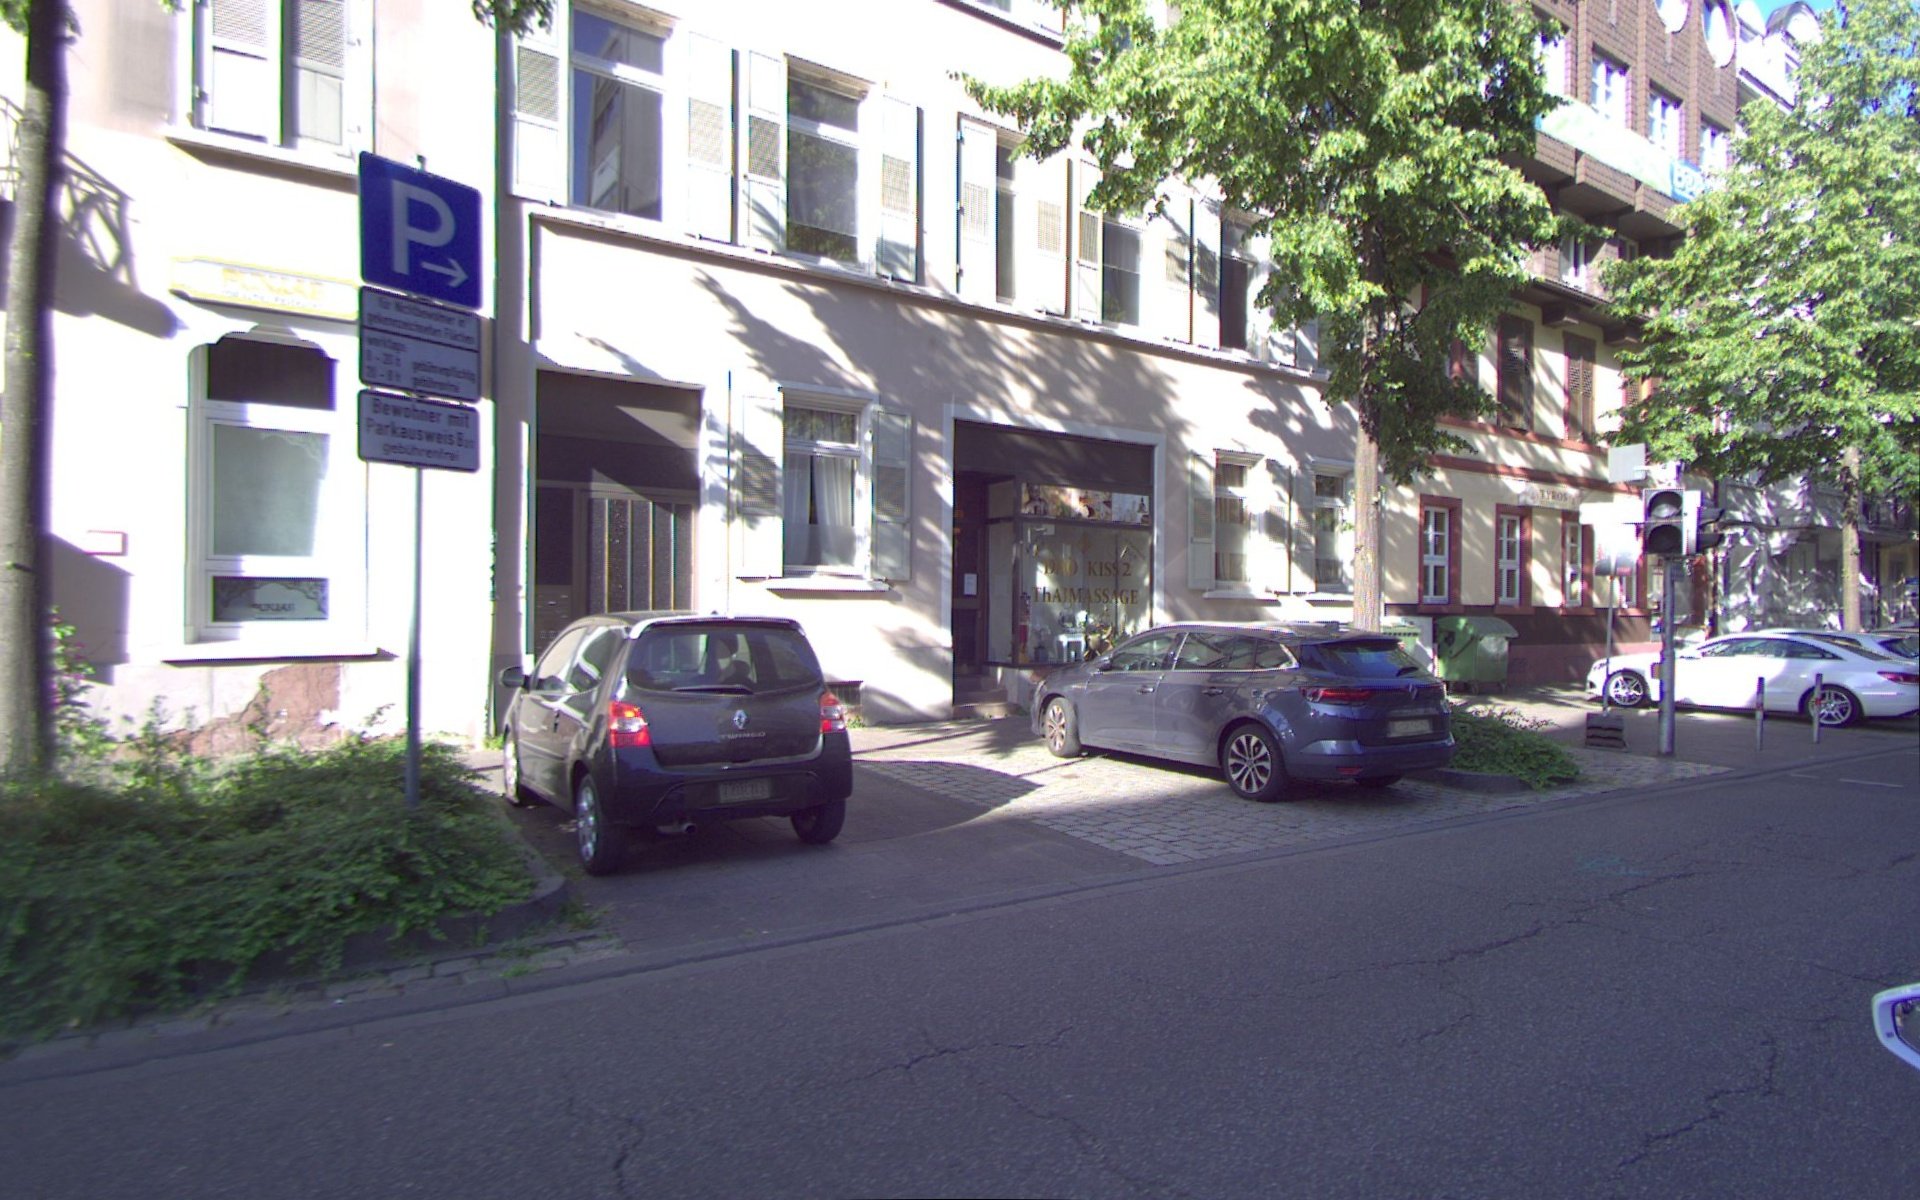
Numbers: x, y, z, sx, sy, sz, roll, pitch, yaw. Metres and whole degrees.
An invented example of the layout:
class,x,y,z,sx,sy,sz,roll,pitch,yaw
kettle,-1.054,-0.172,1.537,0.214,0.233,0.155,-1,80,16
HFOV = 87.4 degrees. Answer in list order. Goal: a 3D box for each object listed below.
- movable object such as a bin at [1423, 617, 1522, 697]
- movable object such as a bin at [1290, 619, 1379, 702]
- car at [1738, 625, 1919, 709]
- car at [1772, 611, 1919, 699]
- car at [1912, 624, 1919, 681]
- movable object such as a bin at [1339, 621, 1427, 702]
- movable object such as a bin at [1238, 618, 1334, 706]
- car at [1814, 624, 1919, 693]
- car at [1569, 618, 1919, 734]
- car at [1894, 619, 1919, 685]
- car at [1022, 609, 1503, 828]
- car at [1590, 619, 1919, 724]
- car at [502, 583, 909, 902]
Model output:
class,x,y,z,sx,sy,sz,roll,pitch,yaw
movable object such as a bin,9.902,1.076,19.424,1.365,1.464,1.128,1,0,-29
movable object such as a bin,6.471,1.025,17.364,1.233,1.373,0.825,1,0,-29
car,18.877,1.341,20.677,1.951,1.565,4.297,1,-1,-43
car,21.040,1.206,22.303,1.907,1.848,4.318,1,0,-30
car,29.121,1.513,27.386,1.897,1.616,4.312,1,0,-34
movable object such as a bin,7.593,1.085,18.038,1.329,1.380,0.814,1,0,-30
movable object such as a bin,5.403,1.012,16.681,1.246,1.385,0.905,1,0,-29
car,23.269,1.409,23.737,1.892,1.565,4.322,1,0,-28
car,13.132,1.150,16.759,1.982,1.512,4.665,2,0,-37
car,27.233,1.404,25.913,1.897,1.756,4.312,1,0,-34
car,2.588,0.897,9.697,1.922,1.565,4.318,1,0,-30
car,14.678,1.193,18.643,1.981,1.512,4.665,0,1,-37
car,-2.137,0.756,7.447,1.922,1.662,3.968,1,0,-30
